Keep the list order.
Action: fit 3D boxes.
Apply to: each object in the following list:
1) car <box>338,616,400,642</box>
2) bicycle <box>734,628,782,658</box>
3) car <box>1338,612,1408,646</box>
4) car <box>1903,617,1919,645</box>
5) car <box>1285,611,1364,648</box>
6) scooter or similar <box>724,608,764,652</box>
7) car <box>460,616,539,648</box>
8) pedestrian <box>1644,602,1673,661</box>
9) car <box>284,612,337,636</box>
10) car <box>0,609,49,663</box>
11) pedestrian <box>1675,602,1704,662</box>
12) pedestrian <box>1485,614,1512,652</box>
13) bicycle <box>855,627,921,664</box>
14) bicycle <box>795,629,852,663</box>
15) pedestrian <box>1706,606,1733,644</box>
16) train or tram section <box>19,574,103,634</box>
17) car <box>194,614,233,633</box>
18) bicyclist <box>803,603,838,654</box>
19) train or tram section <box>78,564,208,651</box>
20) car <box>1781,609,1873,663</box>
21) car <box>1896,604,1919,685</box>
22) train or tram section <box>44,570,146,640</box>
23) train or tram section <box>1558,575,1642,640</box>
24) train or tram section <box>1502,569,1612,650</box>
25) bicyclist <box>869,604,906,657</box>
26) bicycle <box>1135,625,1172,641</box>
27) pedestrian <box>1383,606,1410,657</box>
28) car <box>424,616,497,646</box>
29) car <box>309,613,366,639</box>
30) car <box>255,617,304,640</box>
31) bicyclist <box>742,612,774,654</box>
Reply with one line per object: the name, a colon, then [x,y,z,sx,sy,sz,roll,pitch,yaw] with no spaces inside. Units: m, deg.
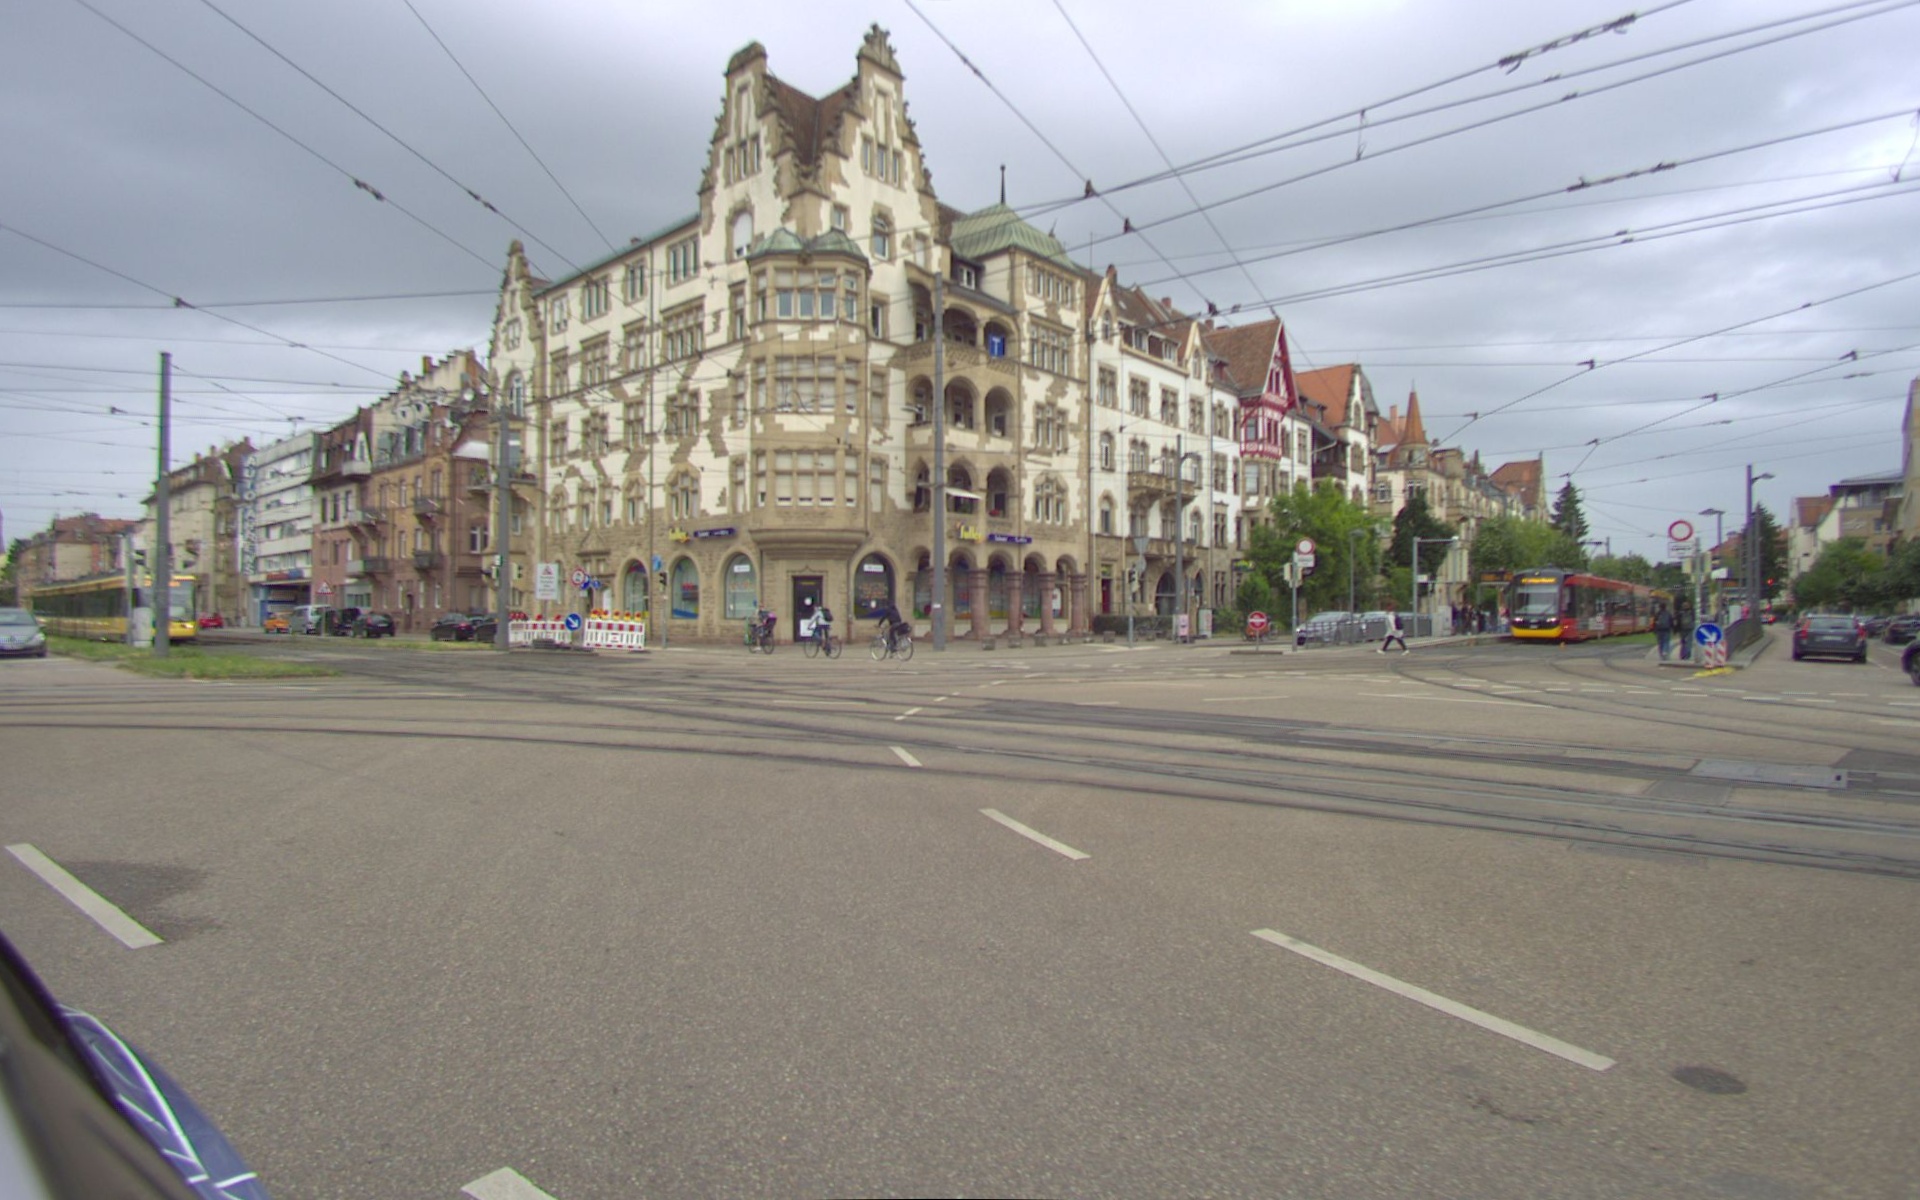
car: [-35.989,1.733,61.595,3.996,1.453,1.974,0,-1,40]
bicycle: [-7.188,1.515,35.969,0.698,1.045,2.024,1,-2,-44]
car: [19.663,1.364,48.132,1.801,1.522,3.942,0,-1,44]
car: [49.717,1.575,52.091,1.722,1.431,3.248,-1,-1,43]
car: [15.910,1.277,44.087,1.801,1.522,3.942,0,-1,44]
scooter or similar: [-8.788,1.192,41.128,1.829,1.728,0.558,0,-1,41]
car: [-22.682,1.555,49.803,3.996,1.453,1.974,0,-1,40]
pedestrian: [21.189,0.937,30.701,0.683,1.767,0.848,0,-1,38]
car: [-45.084,1.656,70.245,3.996,1.608,1.974,0,-1,40]
car: [-30.858,1.126,32.553,3.773,1.652,1.845,0,-1,41]
pedestrian: [21.779,0.938,30.215,0.683,1.767,0.848,0,-1,38]
pedestrian: [29.033,1.763,54.580,1.122,2.029,1.056,0,-1,38]
bicycle: [-2.128,1.341,29.789,1.912,1.045,0.741,-3,-3,38]
bicycle: [-4.441,1.487,32.845,1.907,1.045,0.715,-2,-2,38]
pedestrian: [40.882,1.326,54.475,1.069,2.029,1.108,0,-1,40]
train or tram section: [-57.411,0.246,64.449,13.618,3.463,2.616,0,-1,43]
car: [-67.700,2.099,91.749,3.996,1.608,1.974,0,-1,40]
bicyclist: [-4.548,0.931,32.943,0.858,1.618,0.715,-2,-2,38]
train or tram section: [-37.386,0.307,46.015,13.618,3.463,2.616,0,-1,43]
car: [27.207,1.091,31.871,1.998,1.608,3.948,-1,-1,38]
car: [19.893,0.856,18.375,1.719,1.611,4.321,0,-1,-1]
train or tram section: [-47.382,0.272,55.219,13.618,3.463,2.616,0,-1,43]
train or tram section: [38.884,0.494,61.209,2.601,3.540,13.929,0,-1,39]
train or tram section: [29.983,0.513,50.432,2.601,3.540,13.929,0,-1,39]
bicyclist: [-2.135,0.889,29.799,0.764,1.532,0.741,-3,-3,38]
bicycle: [9.612,1.635,50.288,1.803,0.744,0.554,0,-1,42]
pedestrian: [14.739,1.057,34.169,0.704,1.699,0.600,0,-1,41]
car: [-26.087,1.596,52.789,3.996,1.453,1.974,0,-1,40]
car: [-40.388,1.654,65.640,3.996,1.608,1.974,0,-1,40]
car: [-50.206,2.094,74.671,3.996,1.608,1.974,0,-1,40]
bicyclist: [-7.187,1.166,35.975,0.698,1.455,0.973,1,-2,-44]
